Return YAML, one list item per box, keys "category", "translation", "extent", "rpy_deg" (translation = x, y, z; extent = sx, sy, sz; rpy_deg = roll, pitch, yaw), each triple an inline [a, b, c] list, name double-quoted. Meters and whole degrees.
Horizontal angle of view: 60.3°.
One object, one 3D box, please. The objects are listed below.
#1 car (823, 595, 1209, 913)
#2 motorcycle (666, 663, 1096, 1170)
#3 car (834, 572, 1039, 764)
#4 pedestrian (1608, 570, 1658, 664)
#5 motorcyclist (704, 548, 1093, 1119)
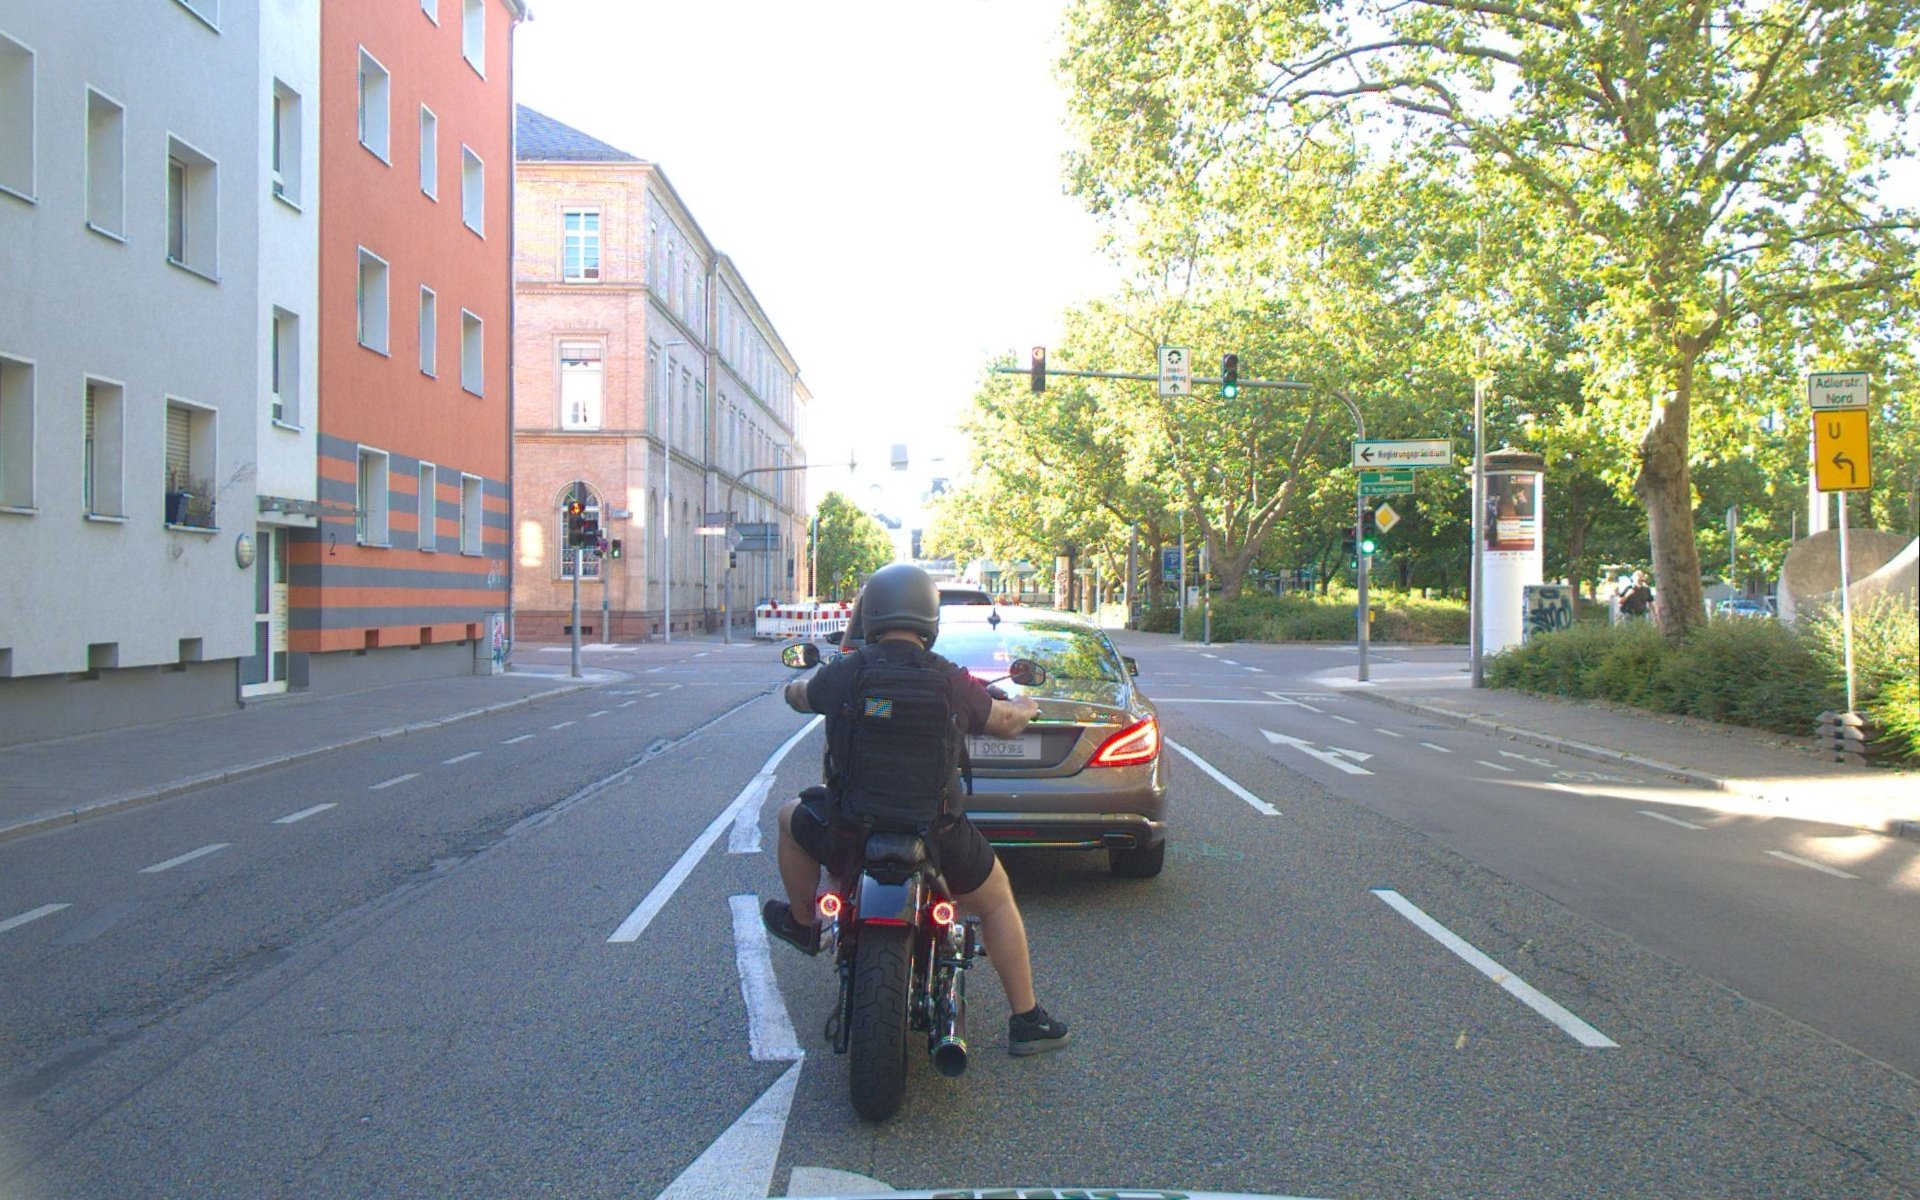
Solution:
- category: "car"
  translation: [0.237, 0.729, 9.644]
  extent: [1.785, 1.462, 3.805]
  rpy_deg: [1, 0, -1]
- category: "motorcycle"
  translation: [-0.125, 0.870, 5.471]
  extent: [1.094, 1.228, 2.213]
  rpy_deg: [1, 0, 5]
- category: "car"
  translation: [-0.237, 0.621, 16.916]
  extent: [1.825, 1.707, 3.999]
  rpy_deg: [1, 0, -1]
- category: "pedestrian"
  translation: [13.177, 0.322, 32.402]
  extent: [0.720, 1.809, 0.730]
  rpy_deg: [1, -1, 7]
- category: "motorcyclist"
  translation: [-0.137, 0.659, 5.251]
  extent: [1.076, 1.593, 1.072]
  rpy_deg: [1, 0, 5]
